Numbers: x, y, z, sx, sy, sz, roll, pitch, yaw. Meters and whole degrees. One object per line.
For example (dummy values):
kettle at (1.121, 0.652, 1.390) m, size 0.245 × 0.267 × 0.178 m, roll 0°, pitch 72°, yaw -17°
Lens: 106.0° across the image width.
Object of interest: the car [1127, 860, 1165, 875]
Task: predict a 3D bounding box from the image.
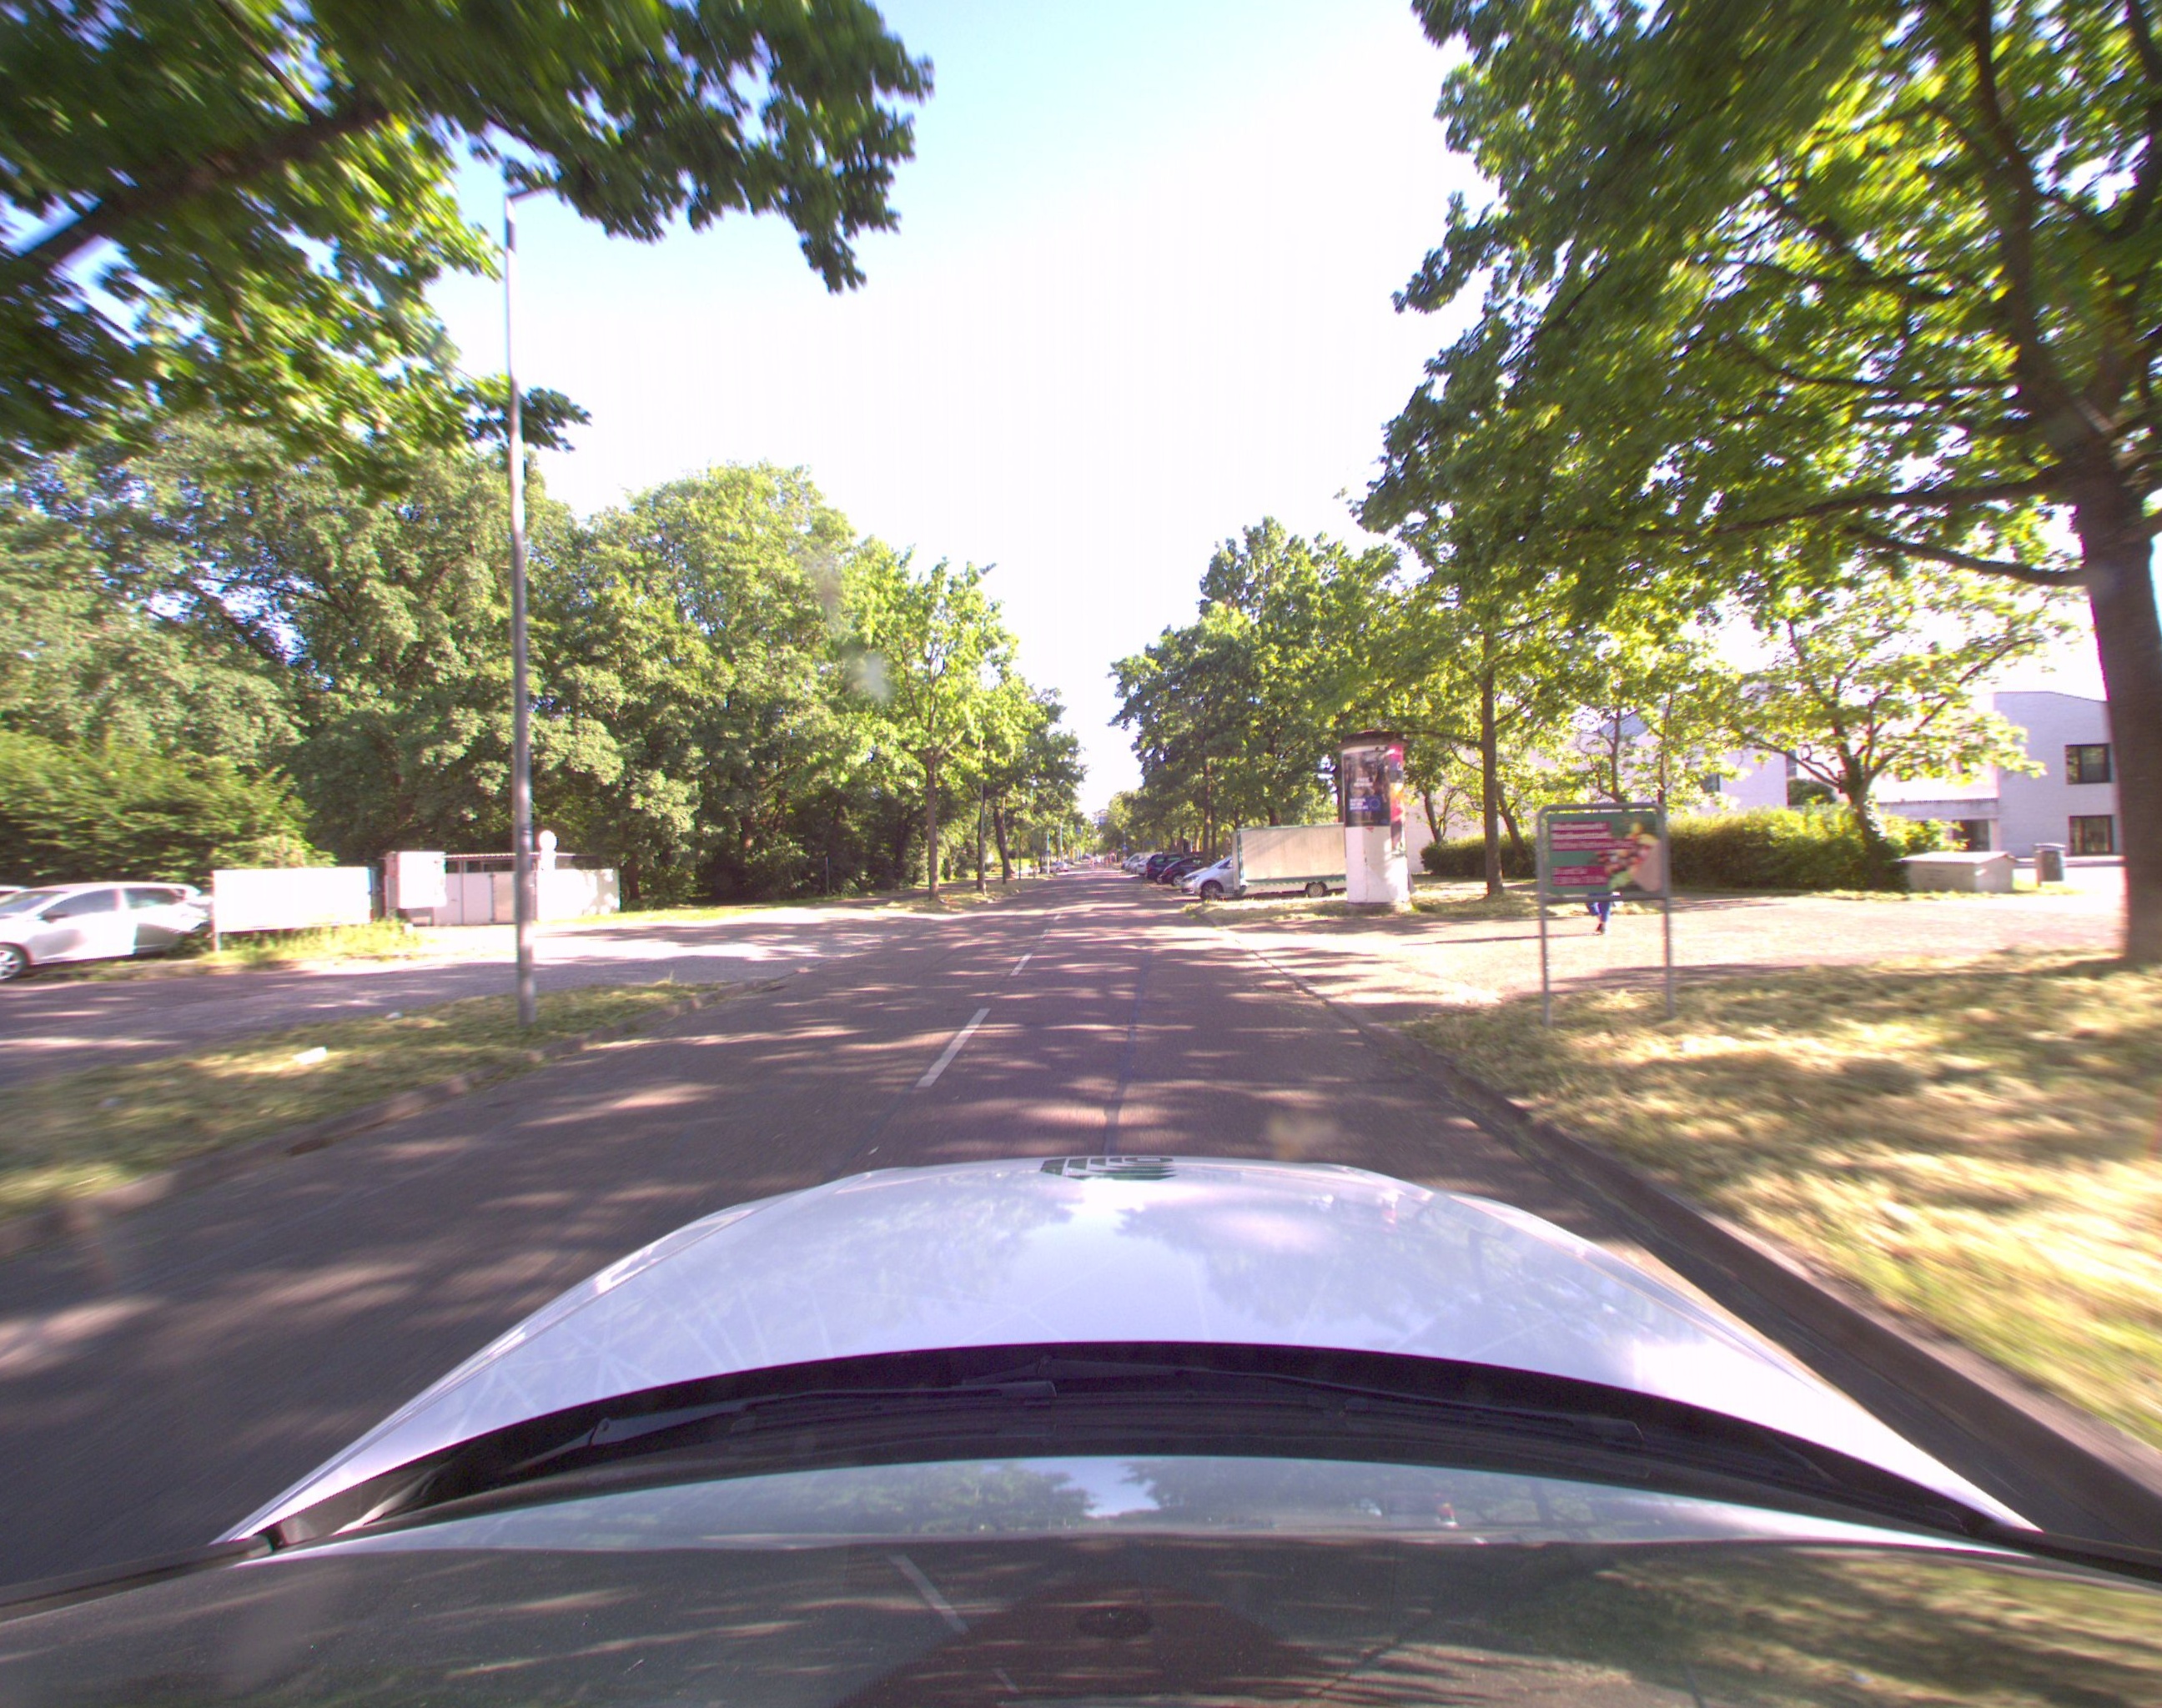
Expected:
car at (6.926, 1.400, 86.940) m, size 3.971 × 1.433 × 1.902 m, roll -2°, pitch -1°, yaw 2°

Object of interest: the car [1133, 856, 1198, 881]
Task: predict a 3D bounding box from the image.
car at (6.349, 1.103, 61.647) m, size 4.653 × 1.580 × 1.917 m, roll -3°, pitch -1°, yaw 1°

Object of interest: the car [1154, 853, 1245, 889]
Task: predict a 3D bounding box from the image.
car at (5.873, 0.855, 40.685) m, size 4.229 × 1.519 × 2.079 m, roll -3°, pitch -1°, yaw 2°

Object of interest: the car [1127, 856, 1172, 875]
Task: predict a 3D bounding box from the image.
car at (7.062, 1.154, 84.406) m, size 4.371 × 1.651 × 1.850 m, roll -4°, pitch -1°, yaw -1°

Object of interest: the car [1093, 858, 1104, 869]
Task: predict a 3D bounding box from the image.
car at (3.288, 1.756, 150.597) m, size 1.987 × 1.933 × 4.000 m, roll -1°, pitch -1°, yaw 1°

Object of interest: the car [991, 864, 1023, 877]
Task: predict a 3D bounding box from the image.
car at (-10.036, 2.197, 110.366) m, size 3.968 × 1.656 × 2.003 m, roll -2°, pitch -1°, yaw 5°

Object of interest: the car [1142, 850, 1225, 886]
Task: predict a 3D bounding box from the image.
car at (5.919, 0.787, 47.322) m, size 4.514 × 1.801 × 1.936 m, roll -3°, pitch -1°, yaw 1°

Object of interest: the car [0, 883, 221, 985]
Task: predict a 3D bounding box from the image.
car at (-16.696, 1.244, 13.195) m, size 1.537 × 1.422 × 3.496 m, roll 0°, pitch 0°, yaw 9°

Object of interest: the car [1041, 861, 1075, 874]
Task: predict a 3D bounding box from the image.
car at (-2.996, 1.756, 106.873) m, size 3.949 × 1.484 × 2.012 m, roll -2°, pitch -1°, yaw 28°

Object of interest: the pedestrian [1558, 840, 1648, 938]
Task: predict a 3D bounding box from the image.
pedestrian at (8.560, 0.555, 13.358) m, size 0.947 × 1.500 × 0.875 m, roll -3°, pitch -1°, yaw -35°

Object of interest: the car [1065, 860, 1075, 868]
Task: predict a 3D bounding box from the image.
car at (-2.397, 2.185, 177.824) m, size 1.987 × 1.716 × 4.000 m, roll -1°, pitch -1°, yaw 1°

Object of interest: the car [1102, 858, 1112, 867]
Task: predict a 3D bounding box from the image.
car at (5.551, 1.752, 171.518) m, size 1.987 × 1.716 × 4.000 m, roll -1°, pitch -1°, yaw 1°

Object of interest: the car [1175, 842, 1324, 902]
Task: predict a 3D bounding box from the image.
car at (5.662, 0.602, 27.791) m, size 4.624 × 1.722 × 1.988 m, roll -4°, pitch -1°, yaw 1°

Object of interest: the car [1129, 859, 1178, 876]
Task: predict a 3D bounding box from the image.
car at (6.824, 1.299, 76.799) m, size 4.430 × 1.390 × 1.911 m, roll -3°, pitch -1°, yaw 0°

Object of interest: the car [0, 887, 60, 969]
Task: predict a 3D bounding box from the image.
car at (-19.267, 1.278, 13.113) m, size 1.414 × 1.368 × 3.213 m, roll 0°, pitch 0°, yaw 9°

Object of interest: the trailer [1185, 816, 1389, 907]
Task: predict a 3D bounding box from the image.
trailer at (6.208, 0.232, 25.014) m, size 5.751 × 2.317 × 1.687 m, roll -4°, pitch -1°, yaw 3°

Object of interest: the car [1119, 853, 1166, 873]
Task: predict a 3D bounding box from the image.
car at (7.126, 1.086, 94.720) m, size 5.171 × 2.105 × 2.082 m, roll -2°, pitch -1°, yaw -1°
